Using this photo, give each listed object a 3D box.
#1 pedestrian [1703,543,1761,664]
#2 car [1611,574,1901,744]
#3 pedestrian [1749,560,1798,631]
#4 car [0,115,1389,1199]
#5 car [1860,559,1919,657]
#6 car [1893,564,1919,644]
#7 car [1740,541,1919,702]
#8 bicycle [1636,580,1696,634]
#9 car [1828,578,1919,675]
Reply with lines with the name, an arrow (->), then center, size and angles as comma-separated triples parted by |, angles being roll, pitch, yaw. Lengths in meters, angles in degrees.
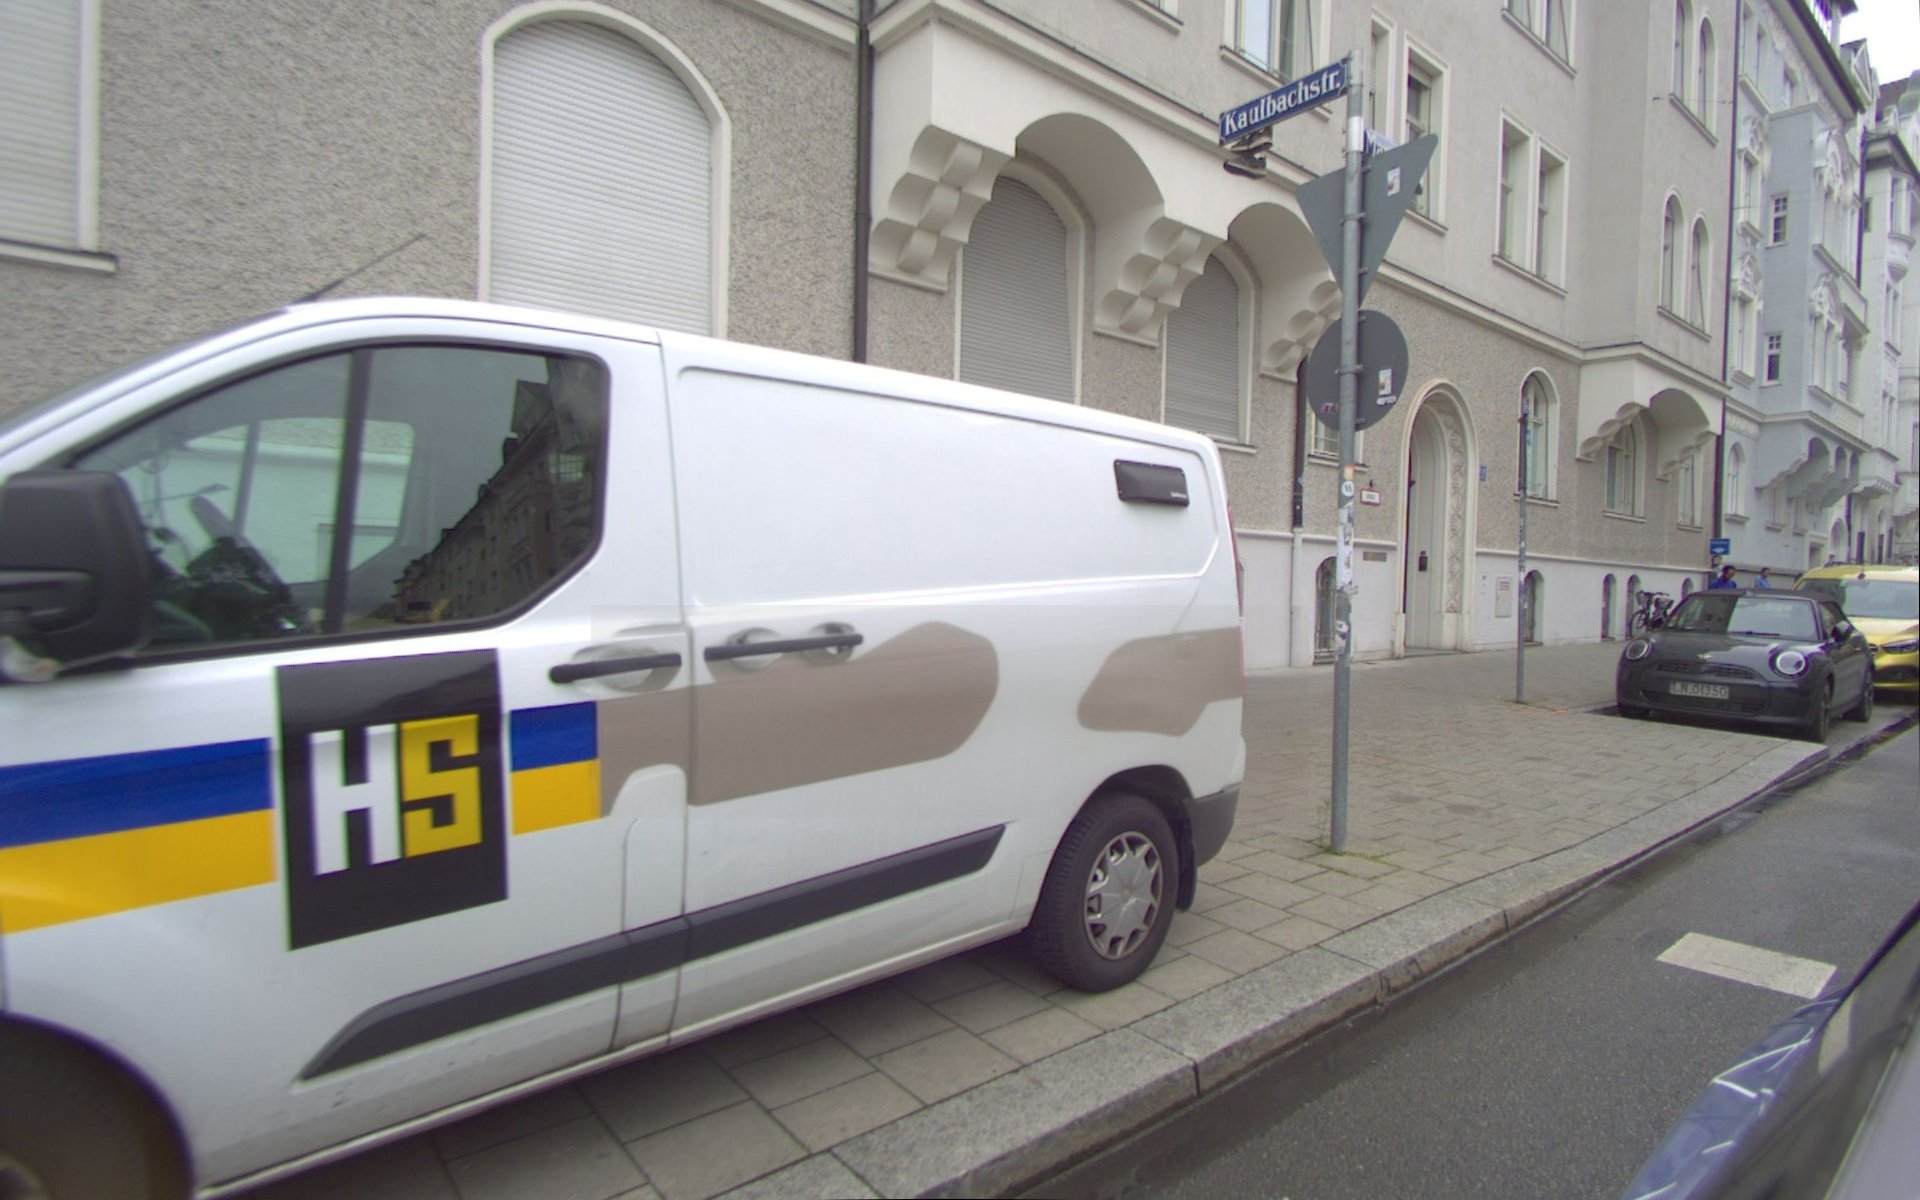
pedestrian -> 13.332, 0.048, 17.480 | 0.714, 2.038, 0.585 | 0, 2, -38
car -> 8.641, 0.496, 10.883 | 3.760, 1.463, 1.716 | 0, 3, -41
pedestrian -> 22.633, -0.144, 28.175 | 0.732, 1.926, 0.854 | 0, 2, -38
car -> -0.830, 0.218, 3.272 | 5.282, 1.945, 1.942 | 0, 3, -42
car -> 20.970, 0.159, 21.613 | 4.801, 1.942, 1.997 | 0, 3, -41
car -> 25.590, 0.118, 25.932 | 4.795, 1.942, 1.997 | -1, 3, -42
car -> 12.862, 0.217, 14.276 | 4.490, 1.942, 1.998 | 0, 3, -40
bicycle -> 15.804, 0.148, 22.651 | 1.692, 1.147, 0.667 | 0, 2, -40
car -> 16.749, 0.418, 17.792 | 3.816, 1.532, 1.637 | 0, 2, -40
